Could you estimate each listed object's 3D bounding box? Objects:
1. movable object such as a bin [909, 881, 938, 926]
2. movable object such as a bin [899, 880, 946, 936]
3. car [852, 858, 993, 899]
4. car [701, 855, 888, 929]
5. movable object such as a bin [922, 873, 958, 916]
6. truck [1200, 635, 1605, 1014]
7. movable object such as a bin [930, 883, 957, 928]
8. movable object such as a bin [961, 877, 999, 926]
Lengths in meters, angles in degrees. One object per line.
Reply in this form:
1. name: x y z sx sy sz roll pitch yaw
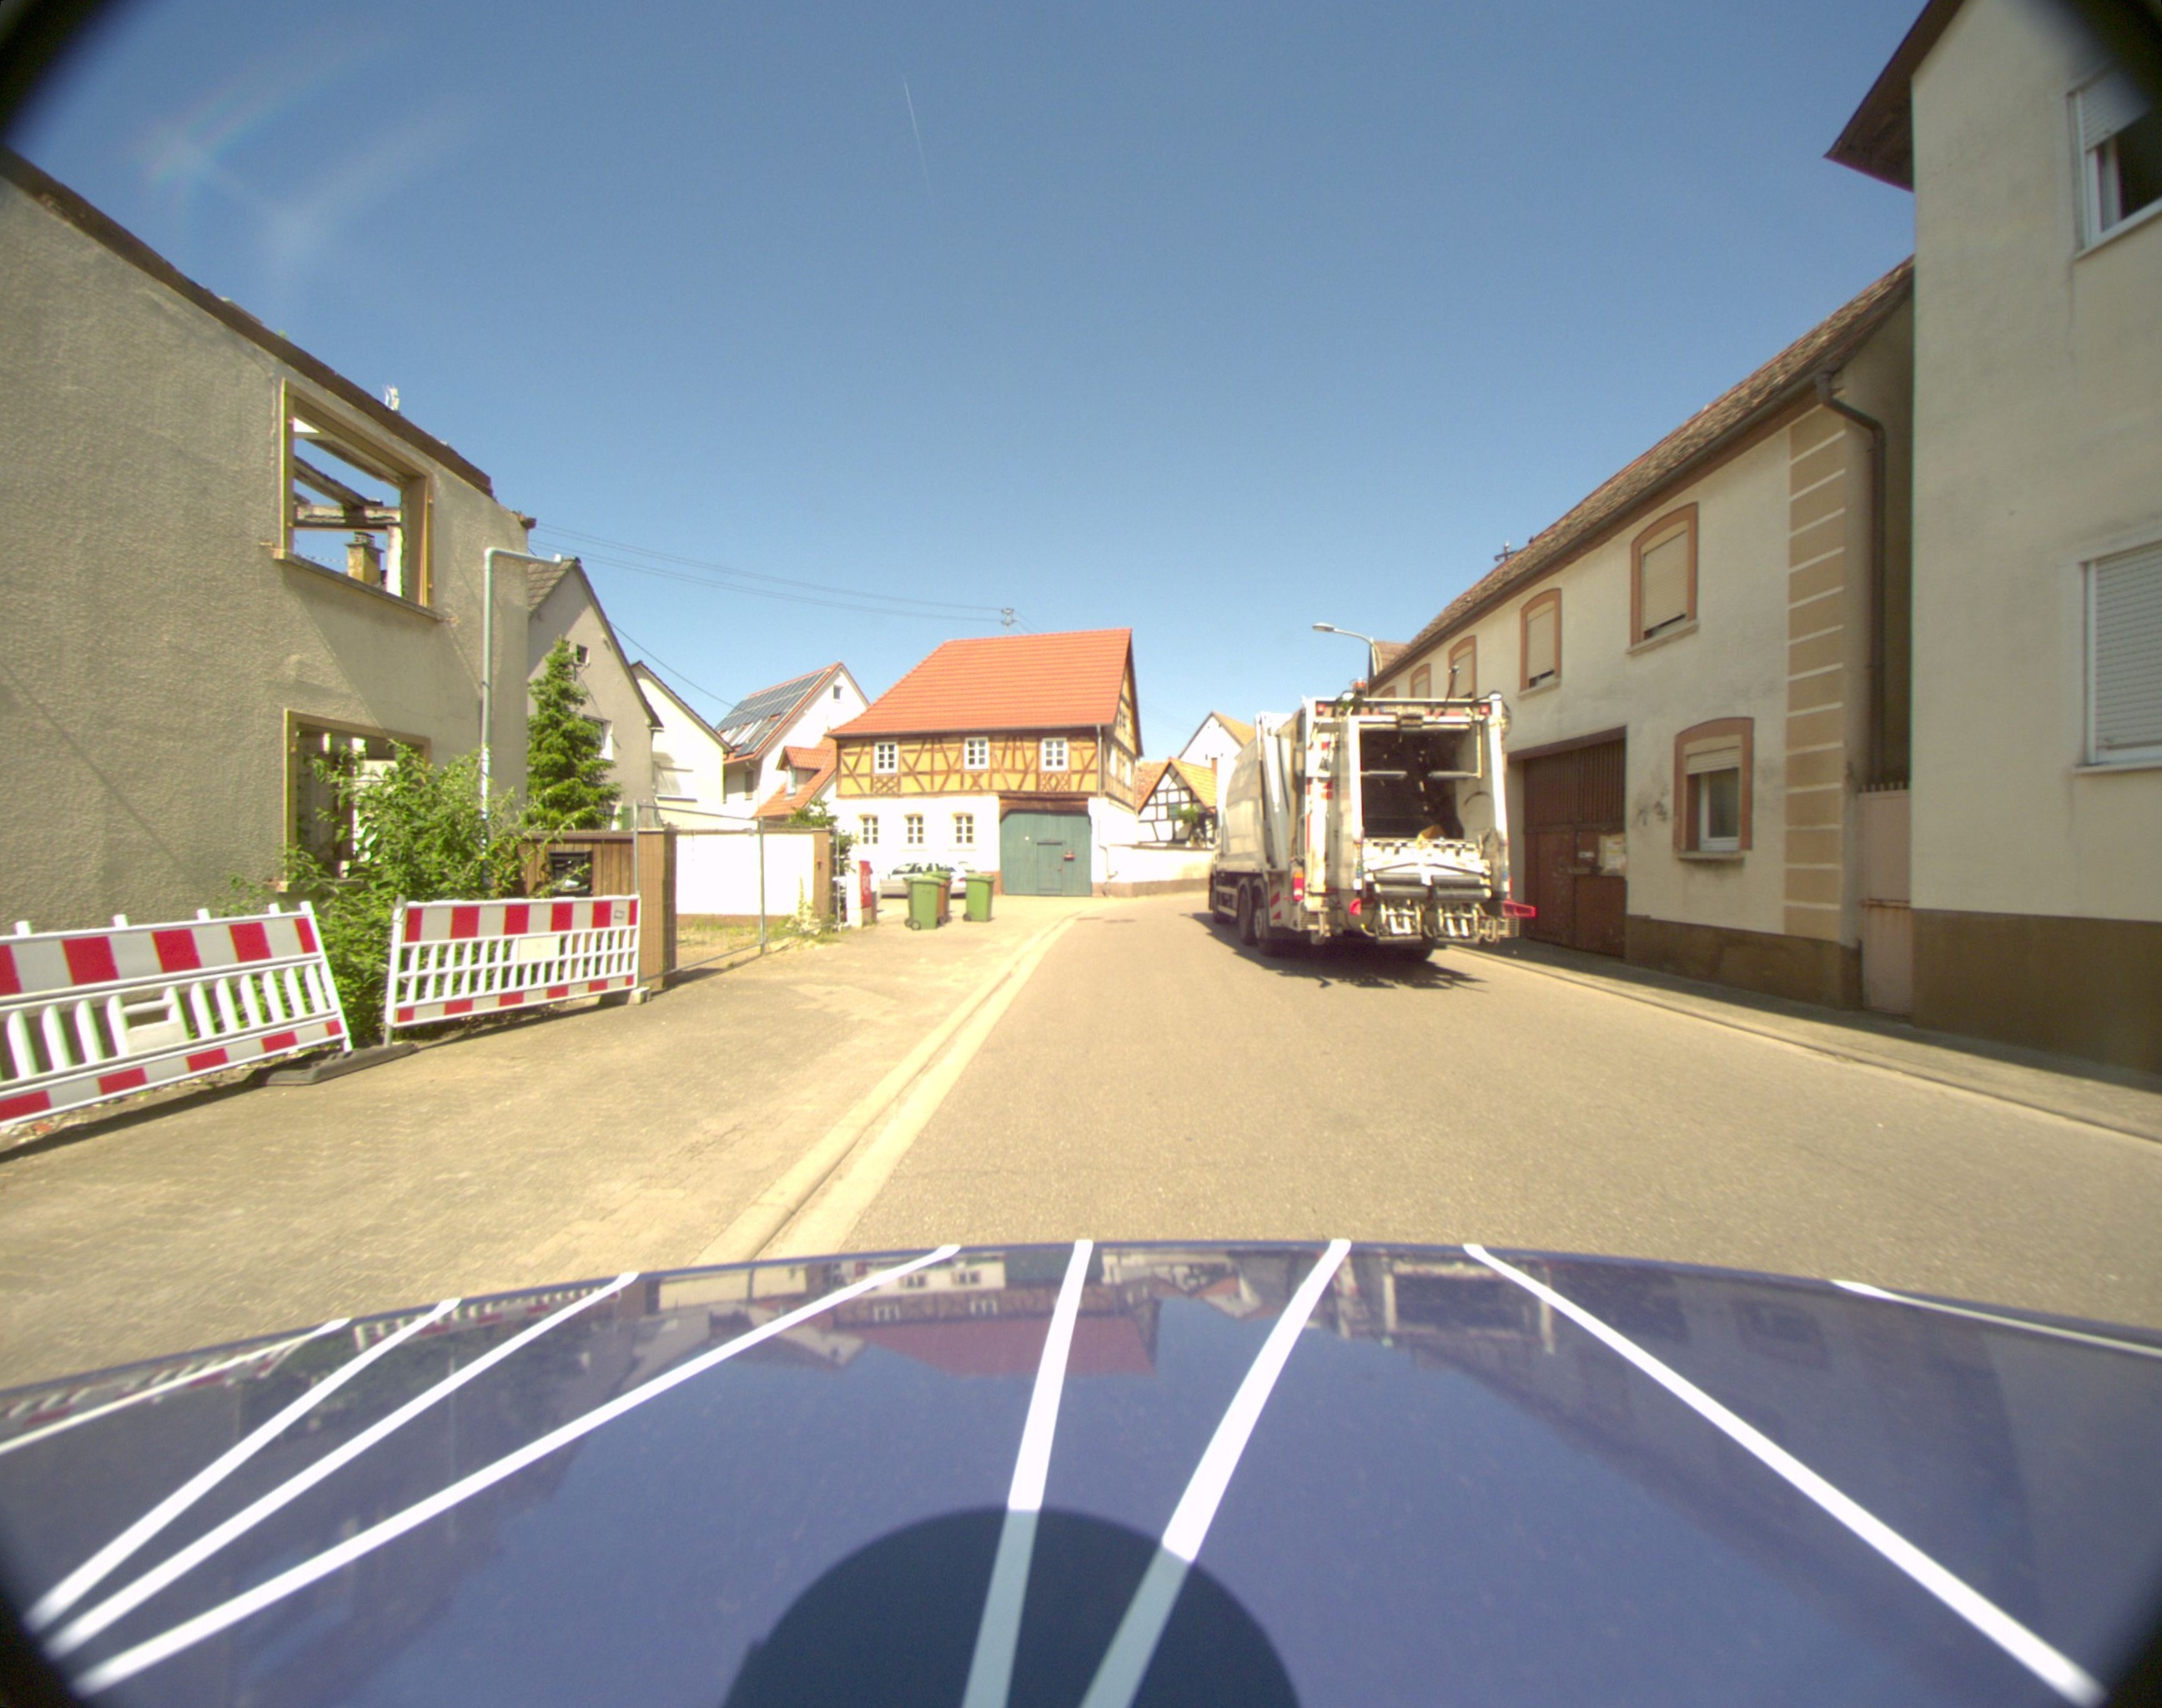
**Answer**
1. movable object such as a bin: -3.446 1.080 16.671 0.465 0.965 0.496 0 0 10
2. movable object such as a bin: -3.196 1.073 15.318 0.763 1.066 0.671 0 0 -30
3. car: -5.899 0.906 28.534 4.759 1.443 2.002 -1 0 14
4. car: -6.555 0.796 17.944 1.812 1.519 4.303 1 0 18
5. movable object such as a bin: -3.629 1.037 19.633 0.721 1.075 0.756 0 0 7
6. truck: 4.025 -0.310 12.981 2.702 3.728 10.870 1 0 3
7. movable object such as a bin: -2.998 1.109 16.589 0.445 0.944 0.463 0 1 11
8. movable object such as a bin: -2.304 1.079 17.408 0.688 1.085 0.638 0 0 11
